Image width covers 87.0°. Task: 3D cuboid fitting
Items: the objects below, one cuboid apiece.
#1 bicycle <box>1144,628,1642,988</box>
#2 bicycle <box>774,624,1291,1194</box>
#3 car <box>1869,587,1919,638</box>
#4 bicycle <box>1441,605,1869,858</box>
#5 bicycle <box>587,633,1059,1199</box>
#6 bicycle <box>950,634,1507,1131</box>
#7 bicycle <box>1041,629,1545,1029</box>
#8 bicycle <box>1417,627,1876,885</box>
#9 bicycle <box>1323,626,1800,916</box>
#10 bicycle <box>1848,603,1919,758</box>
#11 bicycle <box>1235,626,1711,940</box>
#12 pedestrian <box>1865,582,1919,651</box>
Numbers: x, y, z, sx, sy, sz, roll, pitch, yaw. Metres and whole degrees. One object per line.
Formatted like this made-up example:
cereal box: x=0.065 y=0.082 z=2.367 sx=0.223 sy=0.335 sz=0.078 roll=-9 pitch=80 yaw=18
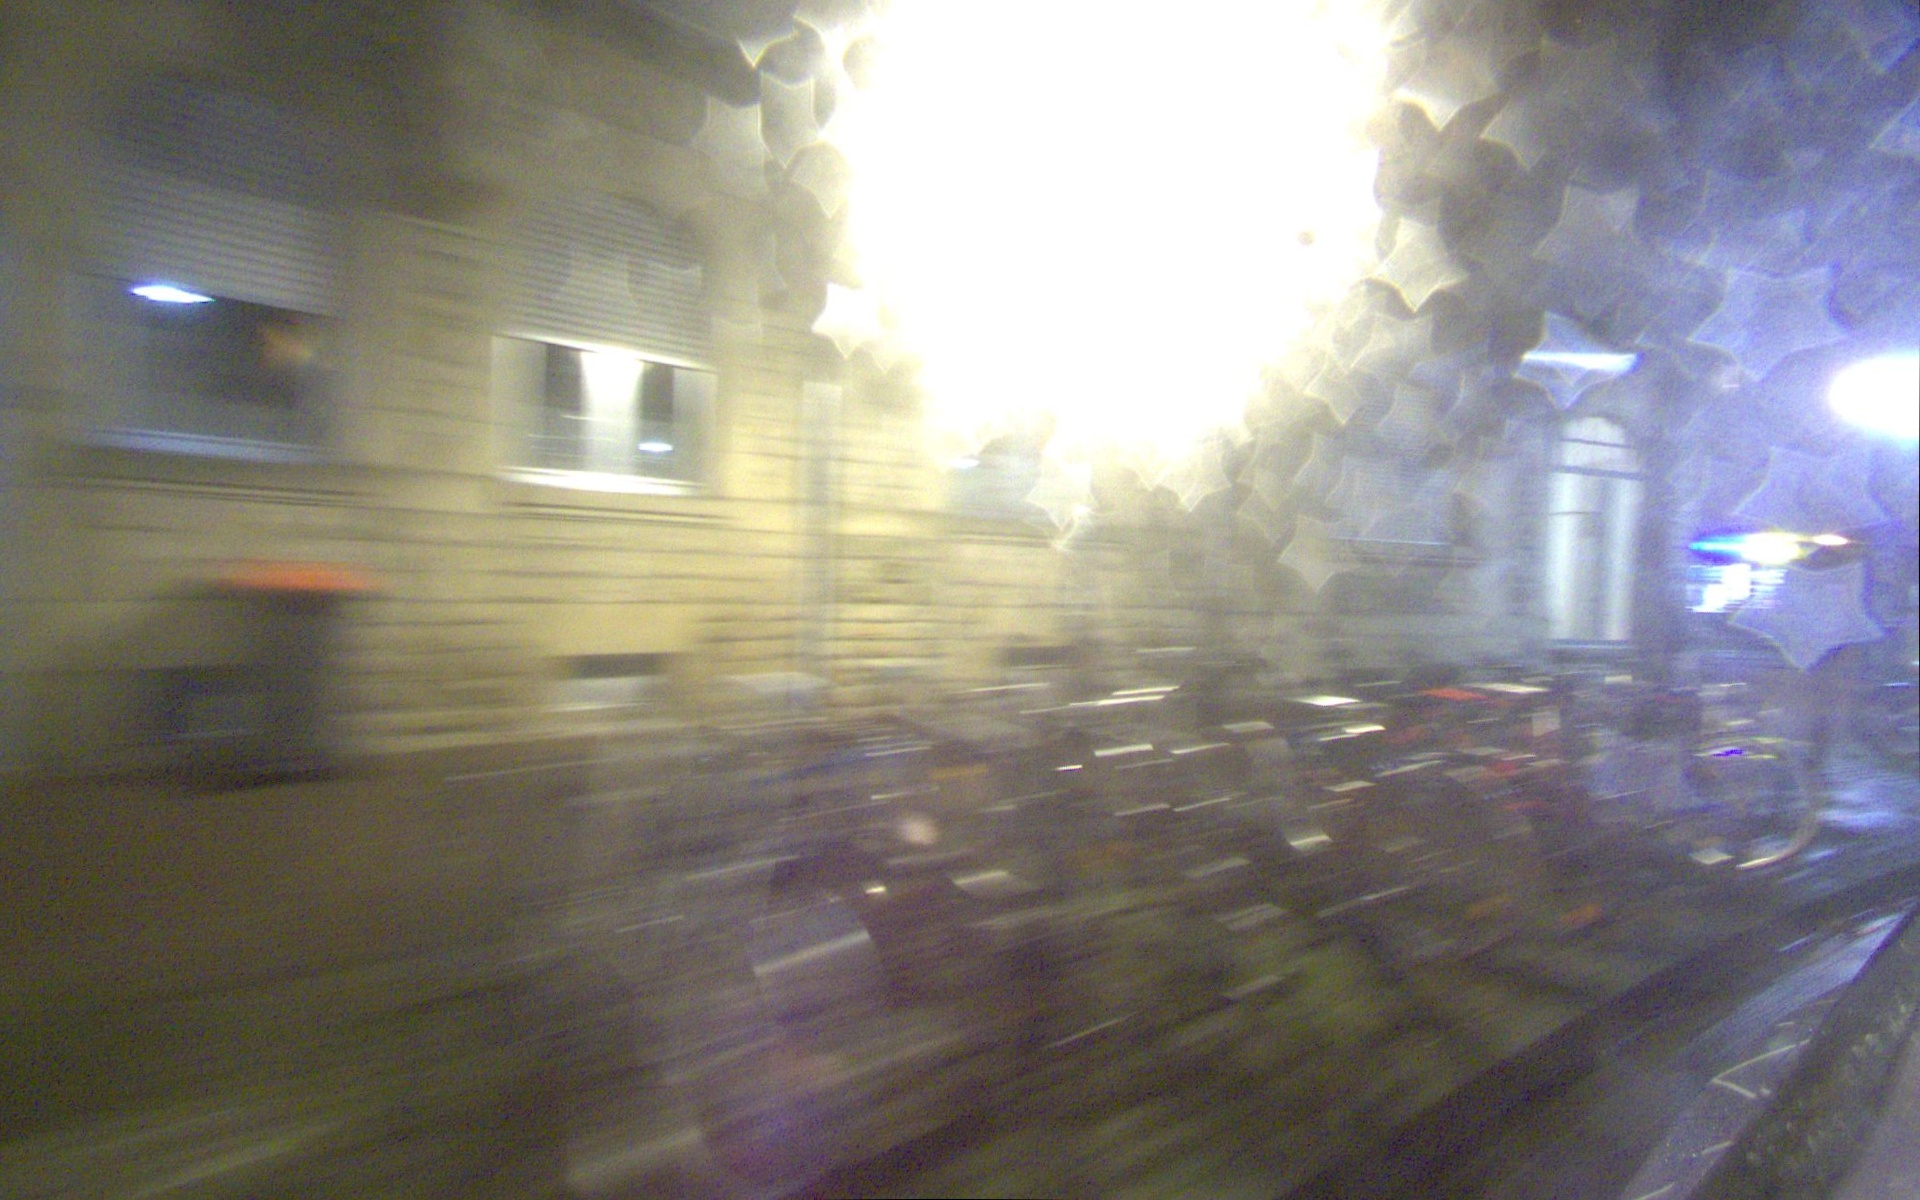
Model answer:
bicycle: x=1.666 y=0.711 z=4.327 sx=0.629 sy=1.019 sz=1.979 roll=1 pitch=3 yaw=-27
bicycle: x=0.033 y=0.673 z=3.132 sx=0.629 sy=1.046 sz=1.979 roll=1 pitch=3 yaw=-27
car: x=33.950 y=0.436 z=34.926 sx=1.852 sy=1.725 sz=4.273 roll=0 pitch=1 yaw=11
bicycle: x=3.955 y=0.655 z=5.978 sx=0.715 sy=1.128 sz=1.936 roll=1 pitch=3 yaw=-27
bicycle: x=-0.547 y=0.682 z=2.756 sx=0.629 sy=1.019 sz=1.979 roll=1 pitch=3 yaw=-27
bicycle: x=0.703 y=0.708 z=3.428 sx=0.629 sy=1.019 sz=1.979 roll=1 pitch=3 yaw=-27
bicycle: x=1.126 y=0.702 z=3.985 sx=0.629 sy=1.019 sz=1.979 roll=1 pitch=3 yaw=-27
bicycle: x=3.594 y=0.723 z=5.533 sx=0.715 sy=0.999 sz=1.936 roll=1 pitch=3 yaw=-27
bicycle: x=2.863 y=0.717 z=5.112 sx=0.674 sy=1.019 sz=1.979 roll=1 pitch=3 yaw=-27
bicycle: x=8.365 y=0.698 z=7.976 sx=0.715 sy=1.232 sz=1.878 roll=1 pitch=3 yaw=-27
bicycle: x=2.246 y=0.707 z=4.778 sx=0.629 sy=1.019 sz=1.979 roll=1 pitch=3 yaw=-27
pedestrian: x=24.853 y=0.441 z=26.960 sx=1.021 sy=1.786 sz=0.691 roll=2 pitch=-1 yaw=-22
